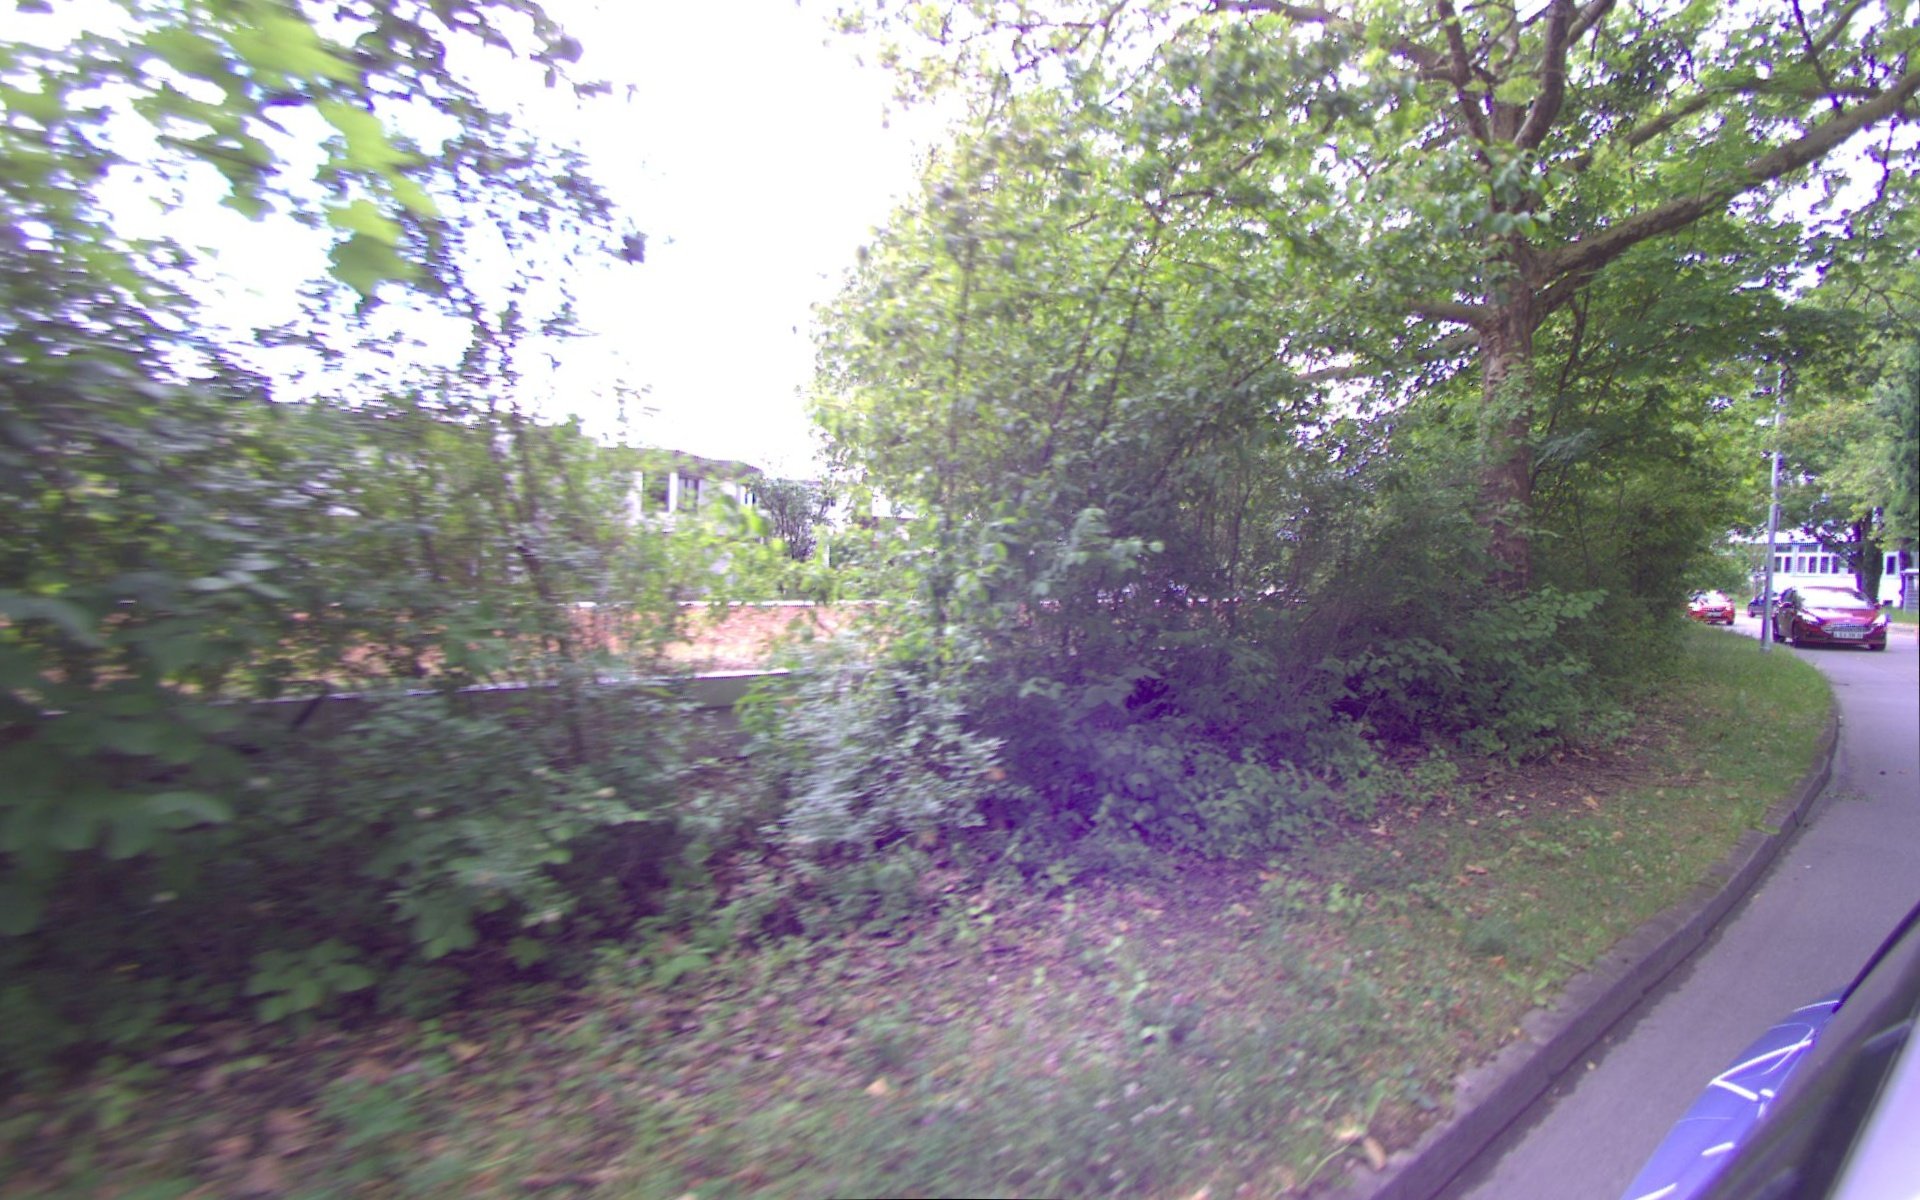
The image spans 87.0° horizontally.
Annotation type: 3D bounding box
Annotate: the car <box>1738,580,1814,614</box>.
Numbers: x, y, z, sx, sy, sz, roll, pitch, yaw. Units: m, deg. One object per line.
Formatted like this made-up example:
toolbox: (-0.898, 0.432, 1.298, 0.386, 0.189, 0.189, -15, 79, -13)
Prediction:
car: (40.983, -0.196, 50.944, 1.665, 1.530, 4.400, 2, 2, 21)

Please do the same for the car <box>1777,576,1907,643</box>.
car: (23.949, 0.201, 27.655, 1.847, 1.638, 4.428, 1, 1, 31)

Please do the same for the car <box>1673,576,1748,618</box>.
car: (32.018, -0.147, 43.303, 1.983, 1.593, 3.959, 4, 2, 29)
